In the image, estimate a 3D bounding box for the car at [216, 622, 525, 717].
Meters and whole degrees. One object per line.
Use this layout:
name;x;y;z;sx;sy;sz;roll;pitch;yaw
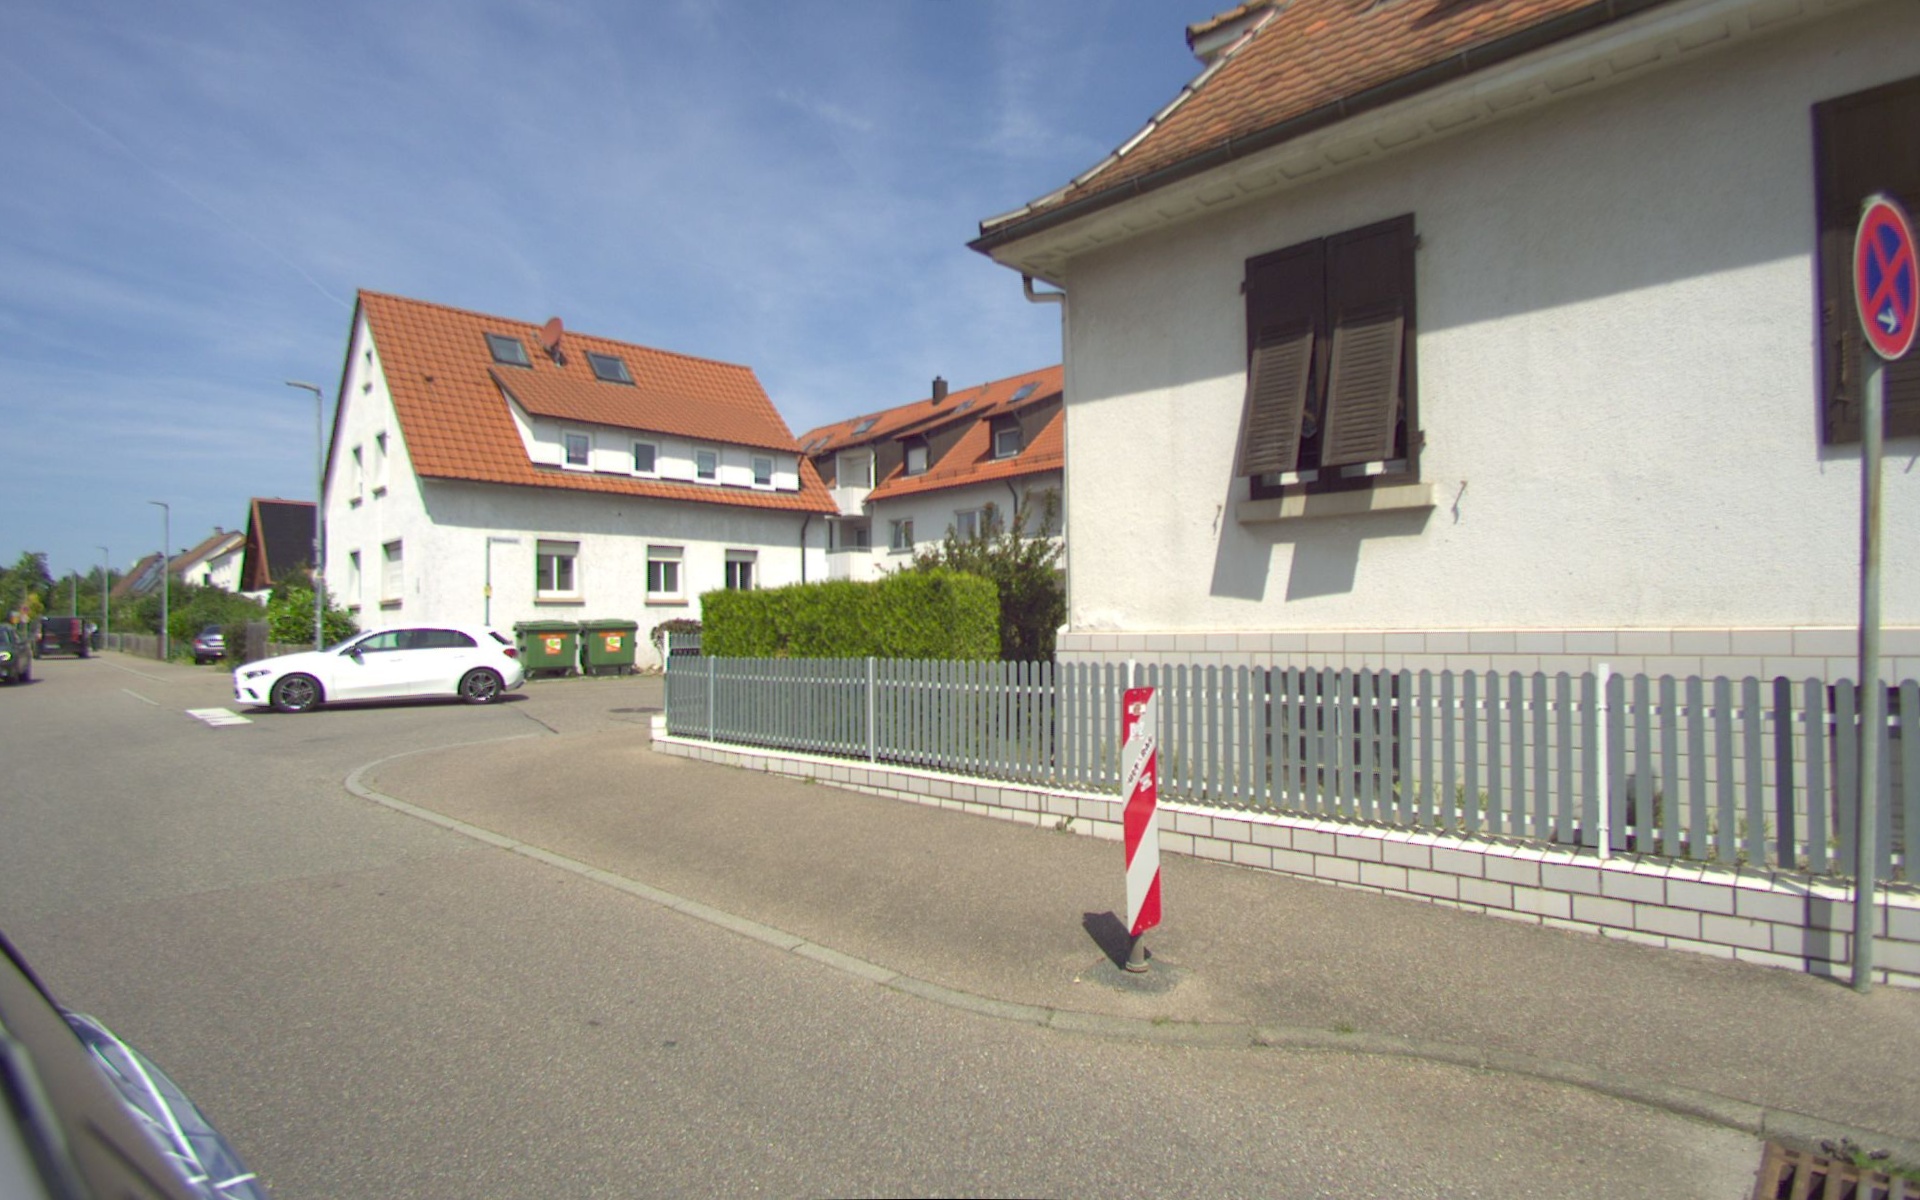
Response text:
car;-10.090;1.121;17.592;4.418;1.408;1.935;0;-1;-31

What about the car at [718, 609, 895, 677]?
car;-3.980;1.066;26.356;4.204;1.559;1.796;0;2;-28

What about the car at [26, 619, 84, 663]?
car;-43.554;1.946;48.675;1.945;1.966;4.700;0;-2;-44

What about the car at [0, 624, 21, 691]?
car;-25.912;1.503;26.526;1.811;1.660;4.329;-1;-1;-42

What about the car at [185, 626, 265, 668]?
car;-27.753;1.736;38.340;1.801;1.443;4.577;0;-1;-28

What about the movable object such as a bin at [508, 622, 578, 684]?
movable object such as a bin;-9.510;1.192;23.069;1.246;1.323;1.169;-1;0;-35

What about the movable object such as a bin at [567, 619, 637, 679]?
movable object such as a bin;-8.472;1.129;23.925;1.246;1.346;1.316;-1;0;-35
